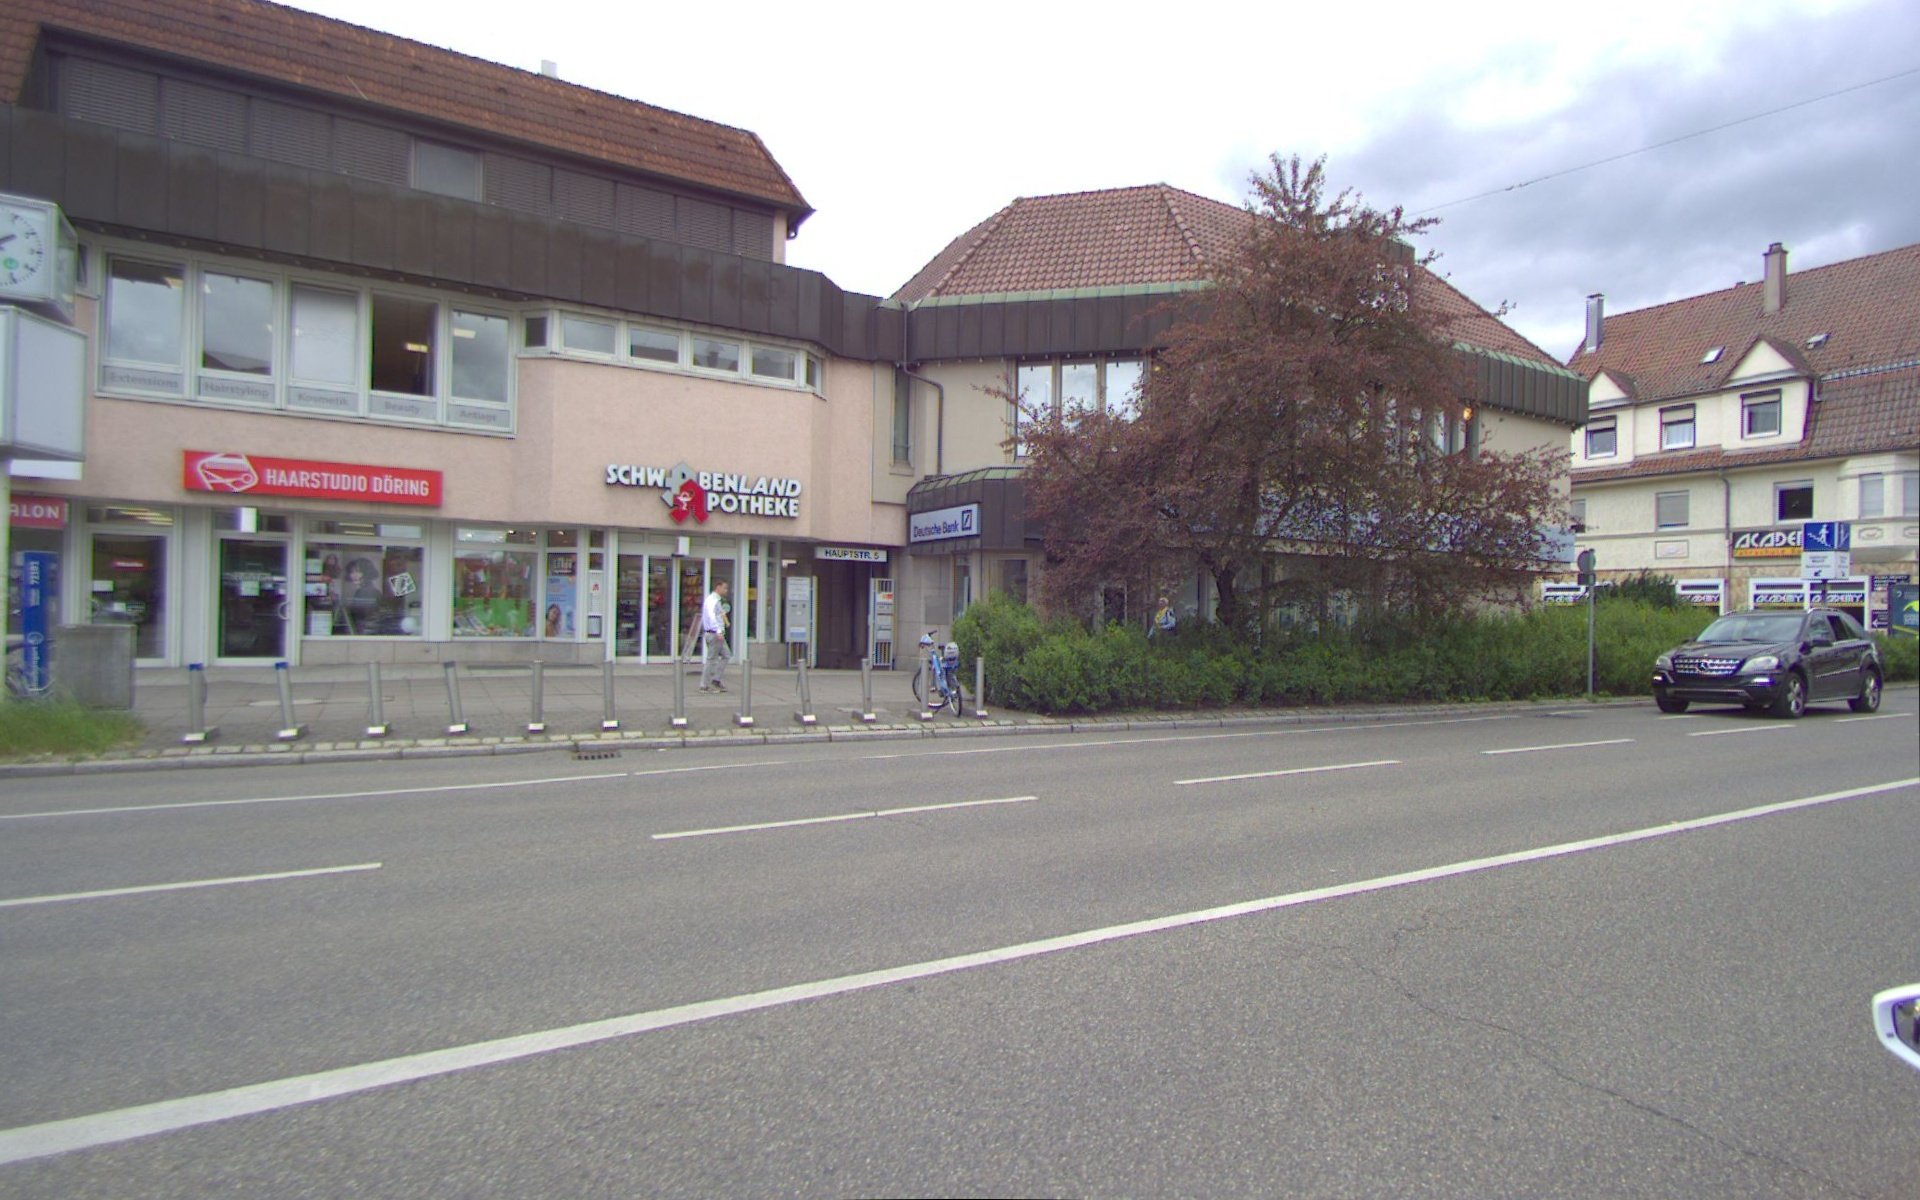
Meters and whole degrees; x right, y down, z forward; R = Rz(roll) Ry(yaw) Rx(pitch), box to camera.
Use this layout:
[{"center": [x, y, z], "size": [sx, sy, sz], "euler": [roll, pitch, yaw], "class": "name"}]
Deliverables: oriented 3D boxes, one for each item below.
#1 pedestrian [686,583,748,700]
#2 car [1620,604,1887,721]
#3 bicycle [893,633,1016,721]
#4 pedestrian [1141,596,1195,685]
[{"center": [-3.881, 0.642, 16.017], "size": [0.747, 1.788, 0.721], "euler": [0, 3, -32], "class": "pedestrian"}, {"center": [13.680, 1.019, 17.270], "size": [4.638, 1.761, 2.059], "euler": [1, -3, -31], "class": "car"}, {"center": [-0.114, 1.052, 14.223], "size": [0.643, 1.105, 2.002], "euler": [1, -1, -39], "class": "bicycle"}, {"center": [4.354, 0.834, 21.100], "size": [0.745, 1.788, 0.723], "euler": [1, 4, -26], "class": "pedestrian"}]
